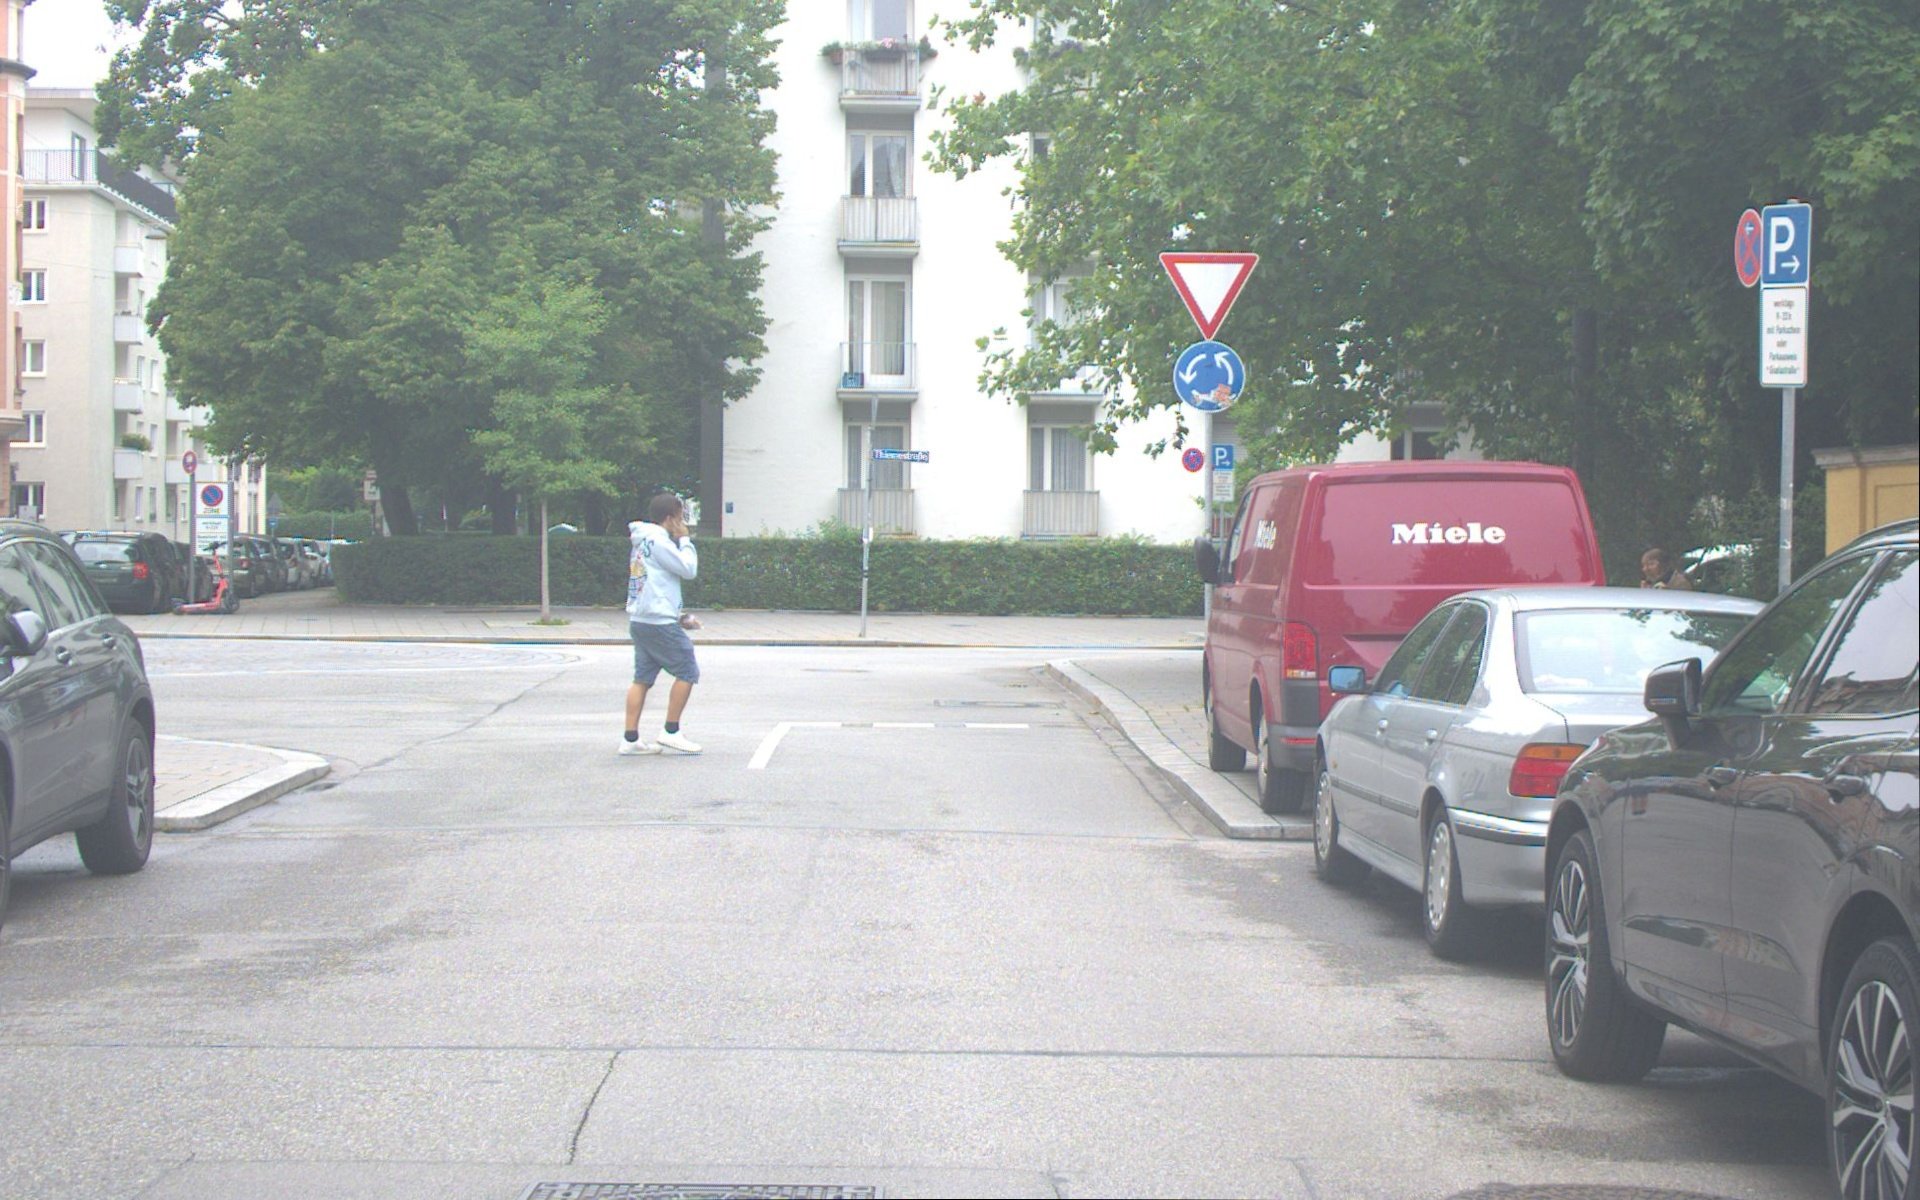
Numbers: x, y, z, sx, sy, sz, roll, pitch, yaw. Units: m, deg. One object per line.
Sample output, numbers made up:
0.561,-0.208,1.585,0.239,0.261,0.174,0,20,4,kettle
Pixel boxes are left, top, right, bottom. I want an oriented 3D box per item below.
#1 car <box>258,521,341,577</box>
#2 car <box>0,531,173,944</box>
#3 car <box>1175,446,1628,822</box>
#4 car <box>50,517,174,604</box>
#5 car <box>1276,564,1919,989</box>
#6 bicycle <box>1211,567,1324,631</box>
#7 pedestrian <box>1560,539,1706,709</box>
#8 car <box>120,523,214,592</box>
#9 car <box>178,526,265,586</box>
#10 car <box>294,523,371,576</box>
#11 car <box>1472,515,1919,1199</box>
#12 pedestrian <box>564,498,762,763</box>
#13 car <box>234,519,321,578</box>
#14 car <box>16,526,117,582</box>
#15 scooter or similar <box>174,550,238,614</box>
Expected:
-19.772,-1.541,103.019,1.835,1.629,3.820,-1,1,-2,car
-4.630,0.521,14.404,1.746,1.596,4.497,-1,1,-2,car
2.473,0.129,20.521,1.874,1.914,4.888,2,1,-2,car
-15.309,-0.743,62.207,1.818,1.500,4.424,-1,1,-9,car
2.665,0.632,14.797,1.884,1.443,4.369,2,1,-4,car
5.196,-0.018,58.016,1.824,1.045,0.492,0,1,-15,bicycle
5.391,0.184,27.593,1.009,1.333,0.876,1,1,3,pedestrian
-17.878,-0.990,77.654,1.793,1.500,4.116,-1,1,-9,car
-19.025,-1.148,88.716,1.835,1.500,4.116,-1,1,-7,car
-19.712,-1.598,108.105,1.835,1.629,3.820,-1,1,-2,car
2.739,0.656,8.698,1.884,1.647,4.824,2,1,-3,car
-2.035,0.193,23.526,1.048,1.765,0.877,0,1,-32,pedestrian
-19.625,-1.499,98.976,1.835,1.629,3.820,-1,1,-2,car
-26.199,-1.368,100.877,1.975,1.575,4.409,1,1,-3,car
-13.079,-0.309,59.621,0.999,1.085,0.390,1,1,-32,scooter or similar
